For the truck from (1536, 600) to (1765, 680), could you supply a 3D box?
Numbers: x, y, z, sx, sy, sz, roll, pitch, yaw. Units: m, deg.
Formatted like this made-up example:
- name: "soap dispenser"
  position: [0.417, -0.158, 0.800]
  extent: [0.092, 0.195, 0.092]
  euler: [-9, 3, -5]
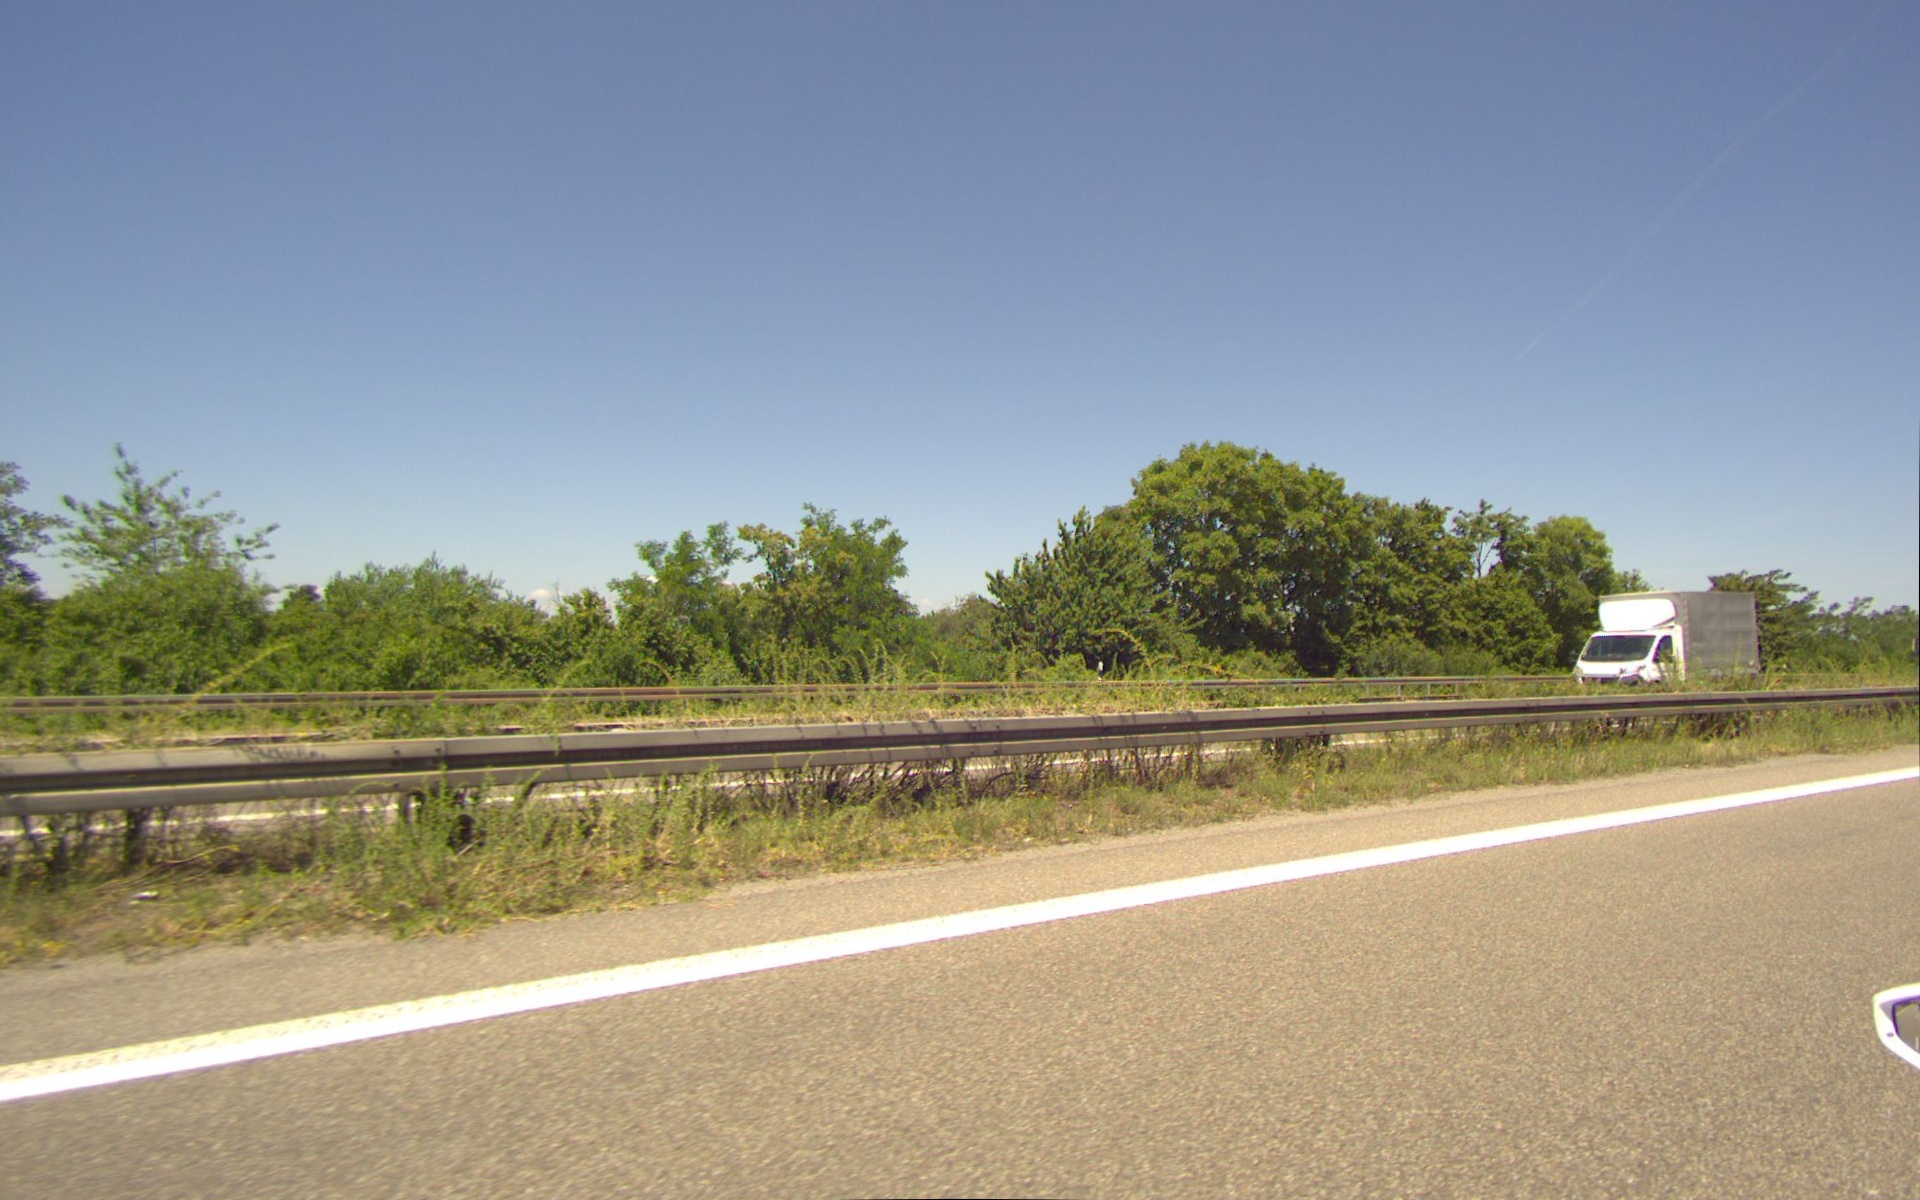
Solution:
- name: "truck"
  position: [20.139, 1.220, 29.195]
  extent: [7.053, 2.094, 2.717]
  euler: [2, -3, -30]

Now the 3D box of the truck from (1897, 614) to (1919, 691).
- name: "truck"
  position: [63.123, 3.267, 61.937]
  extent: [16.999, 4.433, 3.201]
  euler: [2, -6, -32]
